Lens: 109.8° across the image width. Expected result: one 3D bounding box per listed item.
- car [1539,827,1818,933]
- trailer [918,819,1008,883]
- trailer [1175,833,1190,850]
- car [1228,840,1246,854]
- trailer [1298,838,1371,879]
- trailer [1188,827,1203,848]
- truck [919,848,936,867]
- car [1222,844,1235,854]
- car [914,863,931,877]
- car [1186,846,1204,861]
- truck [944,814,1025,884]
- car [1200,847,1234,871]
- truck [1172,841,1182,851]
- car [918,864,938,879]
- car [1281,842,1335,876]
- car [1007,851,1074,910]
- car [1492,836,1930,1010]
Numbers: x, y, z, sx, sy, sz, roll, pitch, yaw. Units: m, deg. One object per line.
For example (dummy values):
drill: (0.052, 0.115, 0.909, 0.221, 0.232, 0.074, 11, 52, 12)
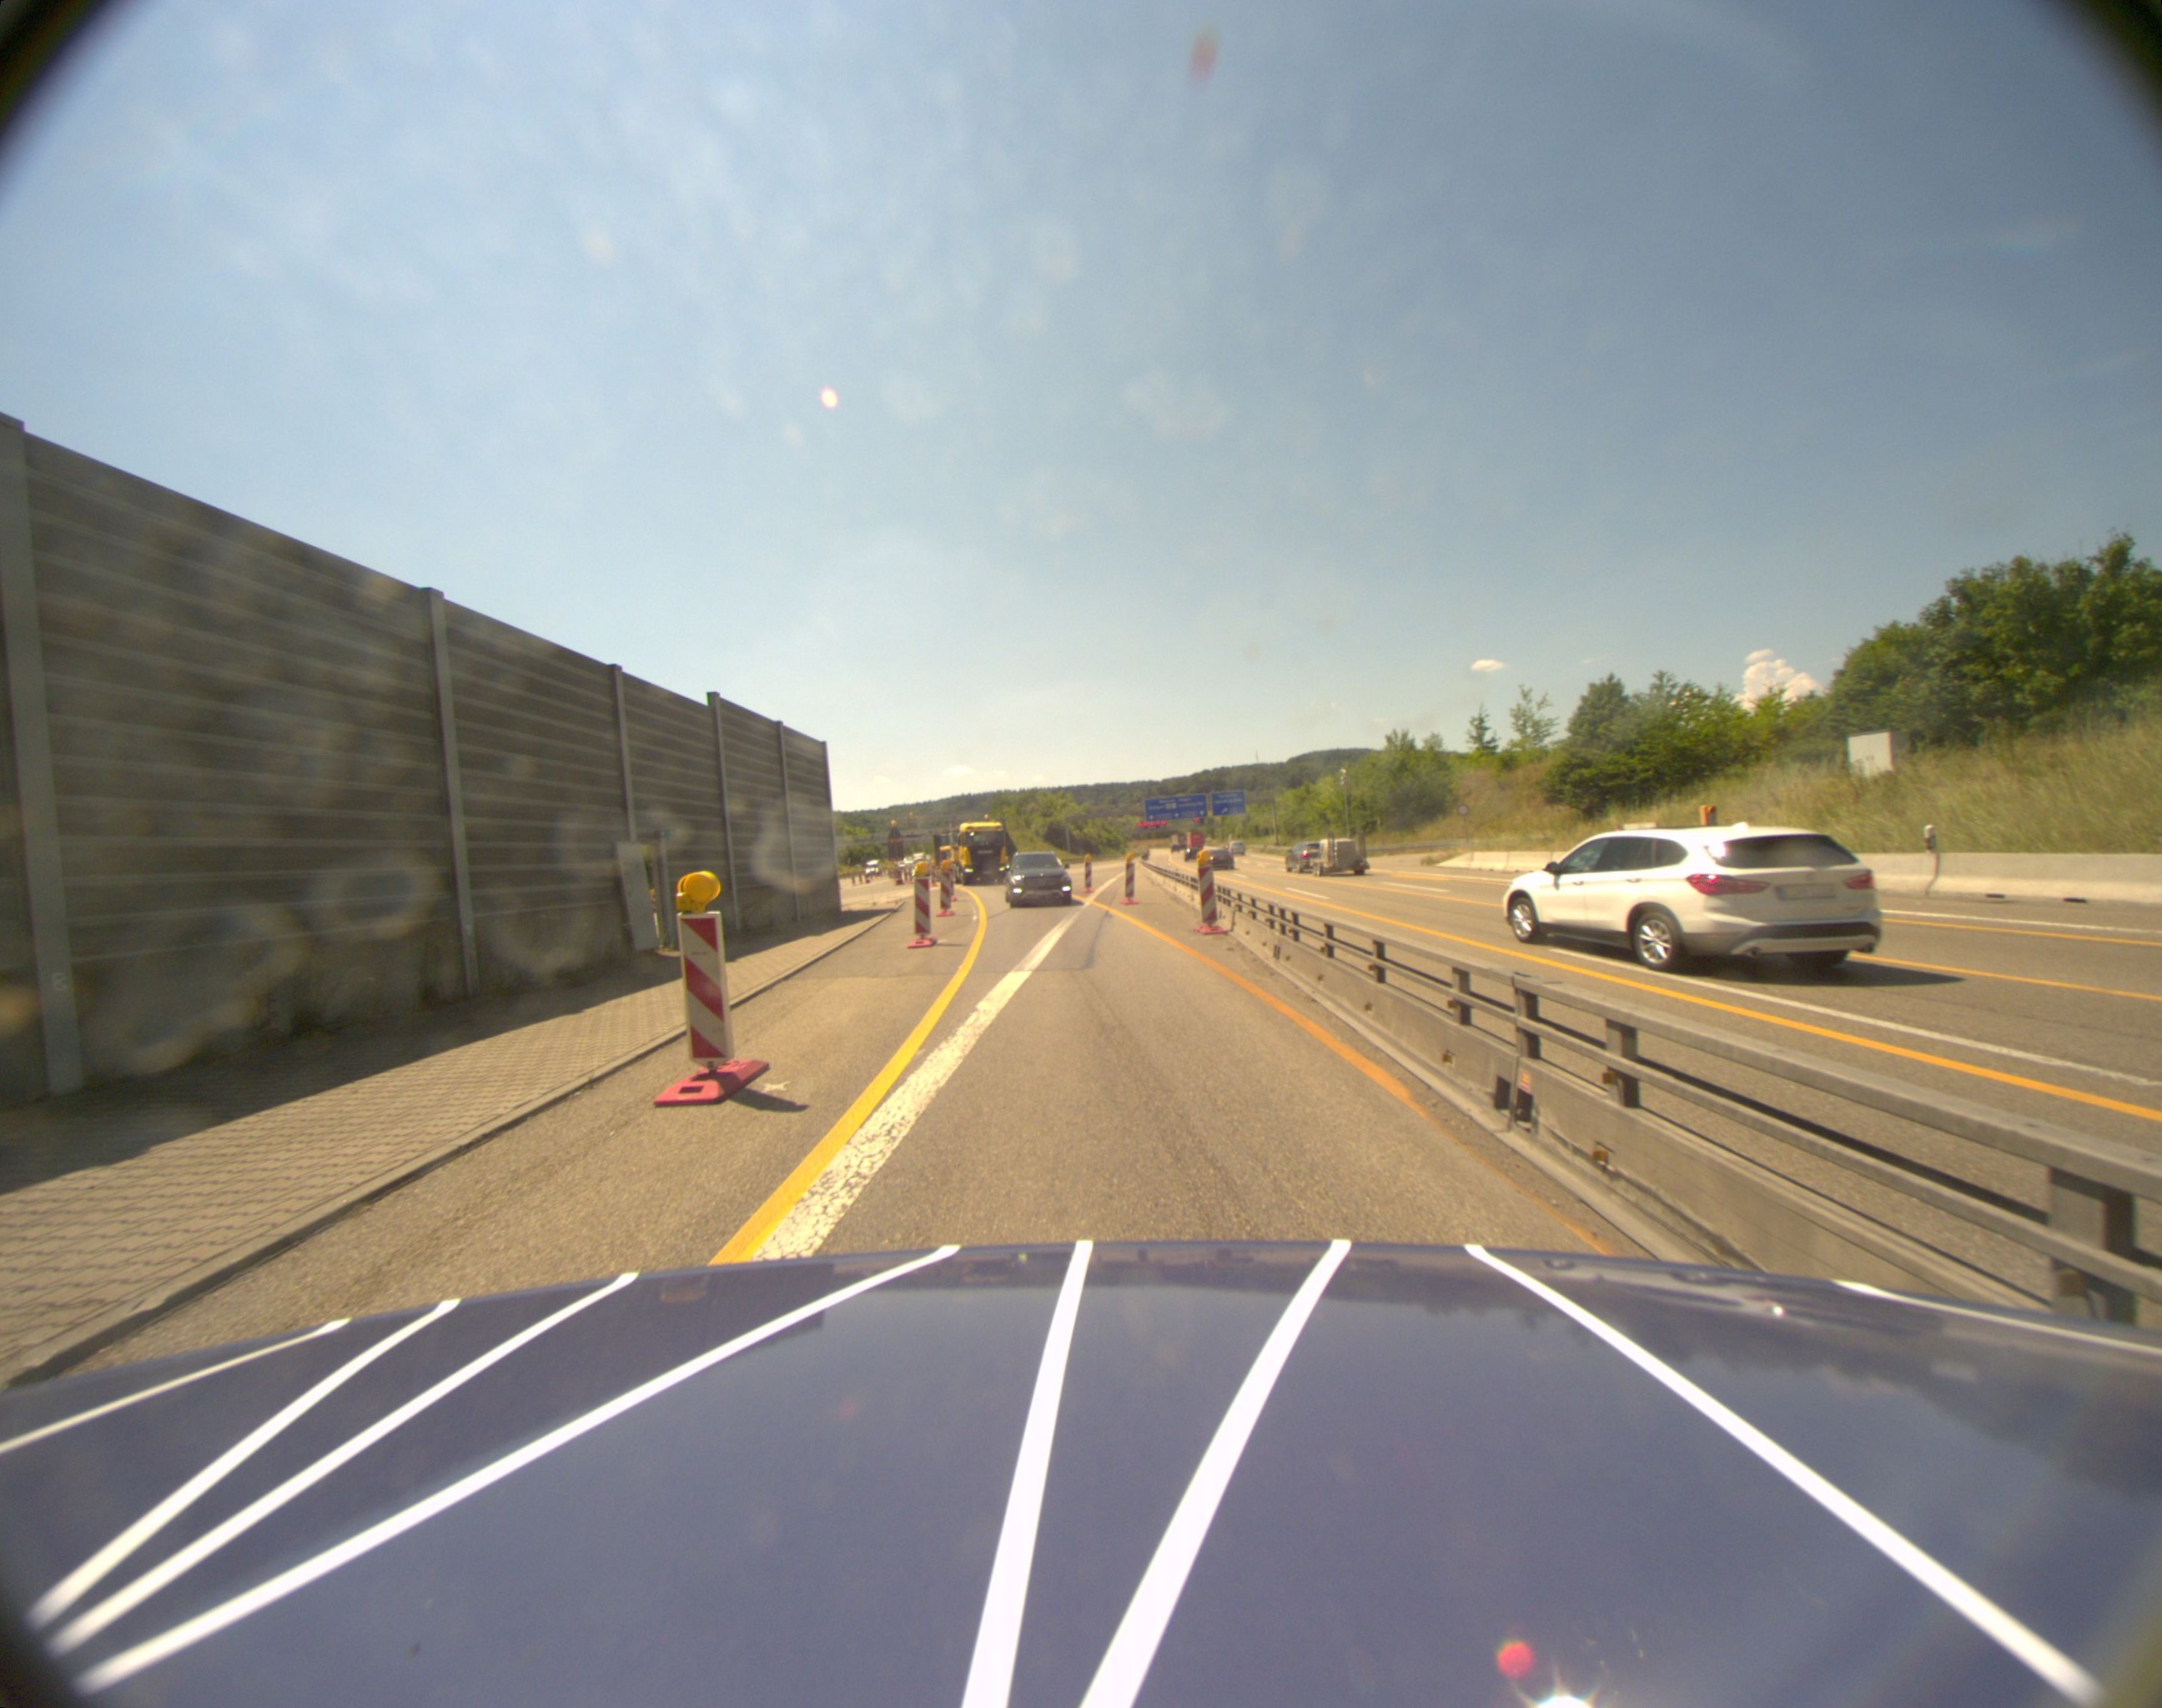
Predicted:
car: (11.066, 0.429, 14.648, 1.777, 1.656, 4.808, -2, 0, 3)
trailer: (-9.011, 0.075, 55.143, 3.241, 3.646, 17.398, -6, 0, -18)
trailer: (27.161, -3.365, 203.901, 2.441, 4.272, 13.809, -4, 1, 2)
car: (21.098, -0.928, 102.949, 1.691, 1.824, 4.788, -2, 1, 3)
trailer: (12.180, 0.219, 36.911, 1.951, 1.794, 5.524, -2, 0, 3)
trailer: (24.039, -3.537, 160.102, 2.342, 4.078, 13.265, -4, 1, 6)
truck: (-33.450, 0.923, 166.174, 3.239, 3.646, 17.407, -6, 0, -11)
car: (23.502, -0.804, 120.986, 1.691, 1.387, 4.001, -2, 1, 6)
car: (-17.678, 1.791, 84.602, 1.477, 1.439, 4.354, -2, 0, -17)
car: (13.051, -0.106, 87.426, 1.746, 1.584, 4.229, -2, 0, 5)
truck: (-6.011, -0.188, 46.108, 3.233, 3.639, 7.073, -6, 0, -18)
car: (9.809, 0.360, 54.992, 1.777, 1.584, 4.987, -2, 0, 3)
truck: (20.900, -1.688, 165.007, 1.998, 1.862, 4.763, -4, 0, 6)
car: (-15.382, 1.750, 76.198, 1.477, 1.439, 4.354, -2, 0, -17)
car: (12.485, 0.279, 42.112, 1.777, 1.717, 4.869, -2, 0, 3)
car: (-1.430, 0.799, 25.076, 1.821, 1.685, 4.490, -2, 0, -8)
car: (7.044, 0.651, 9.278, 1.778, 1.568, 4.447, -2, 0, 3)
